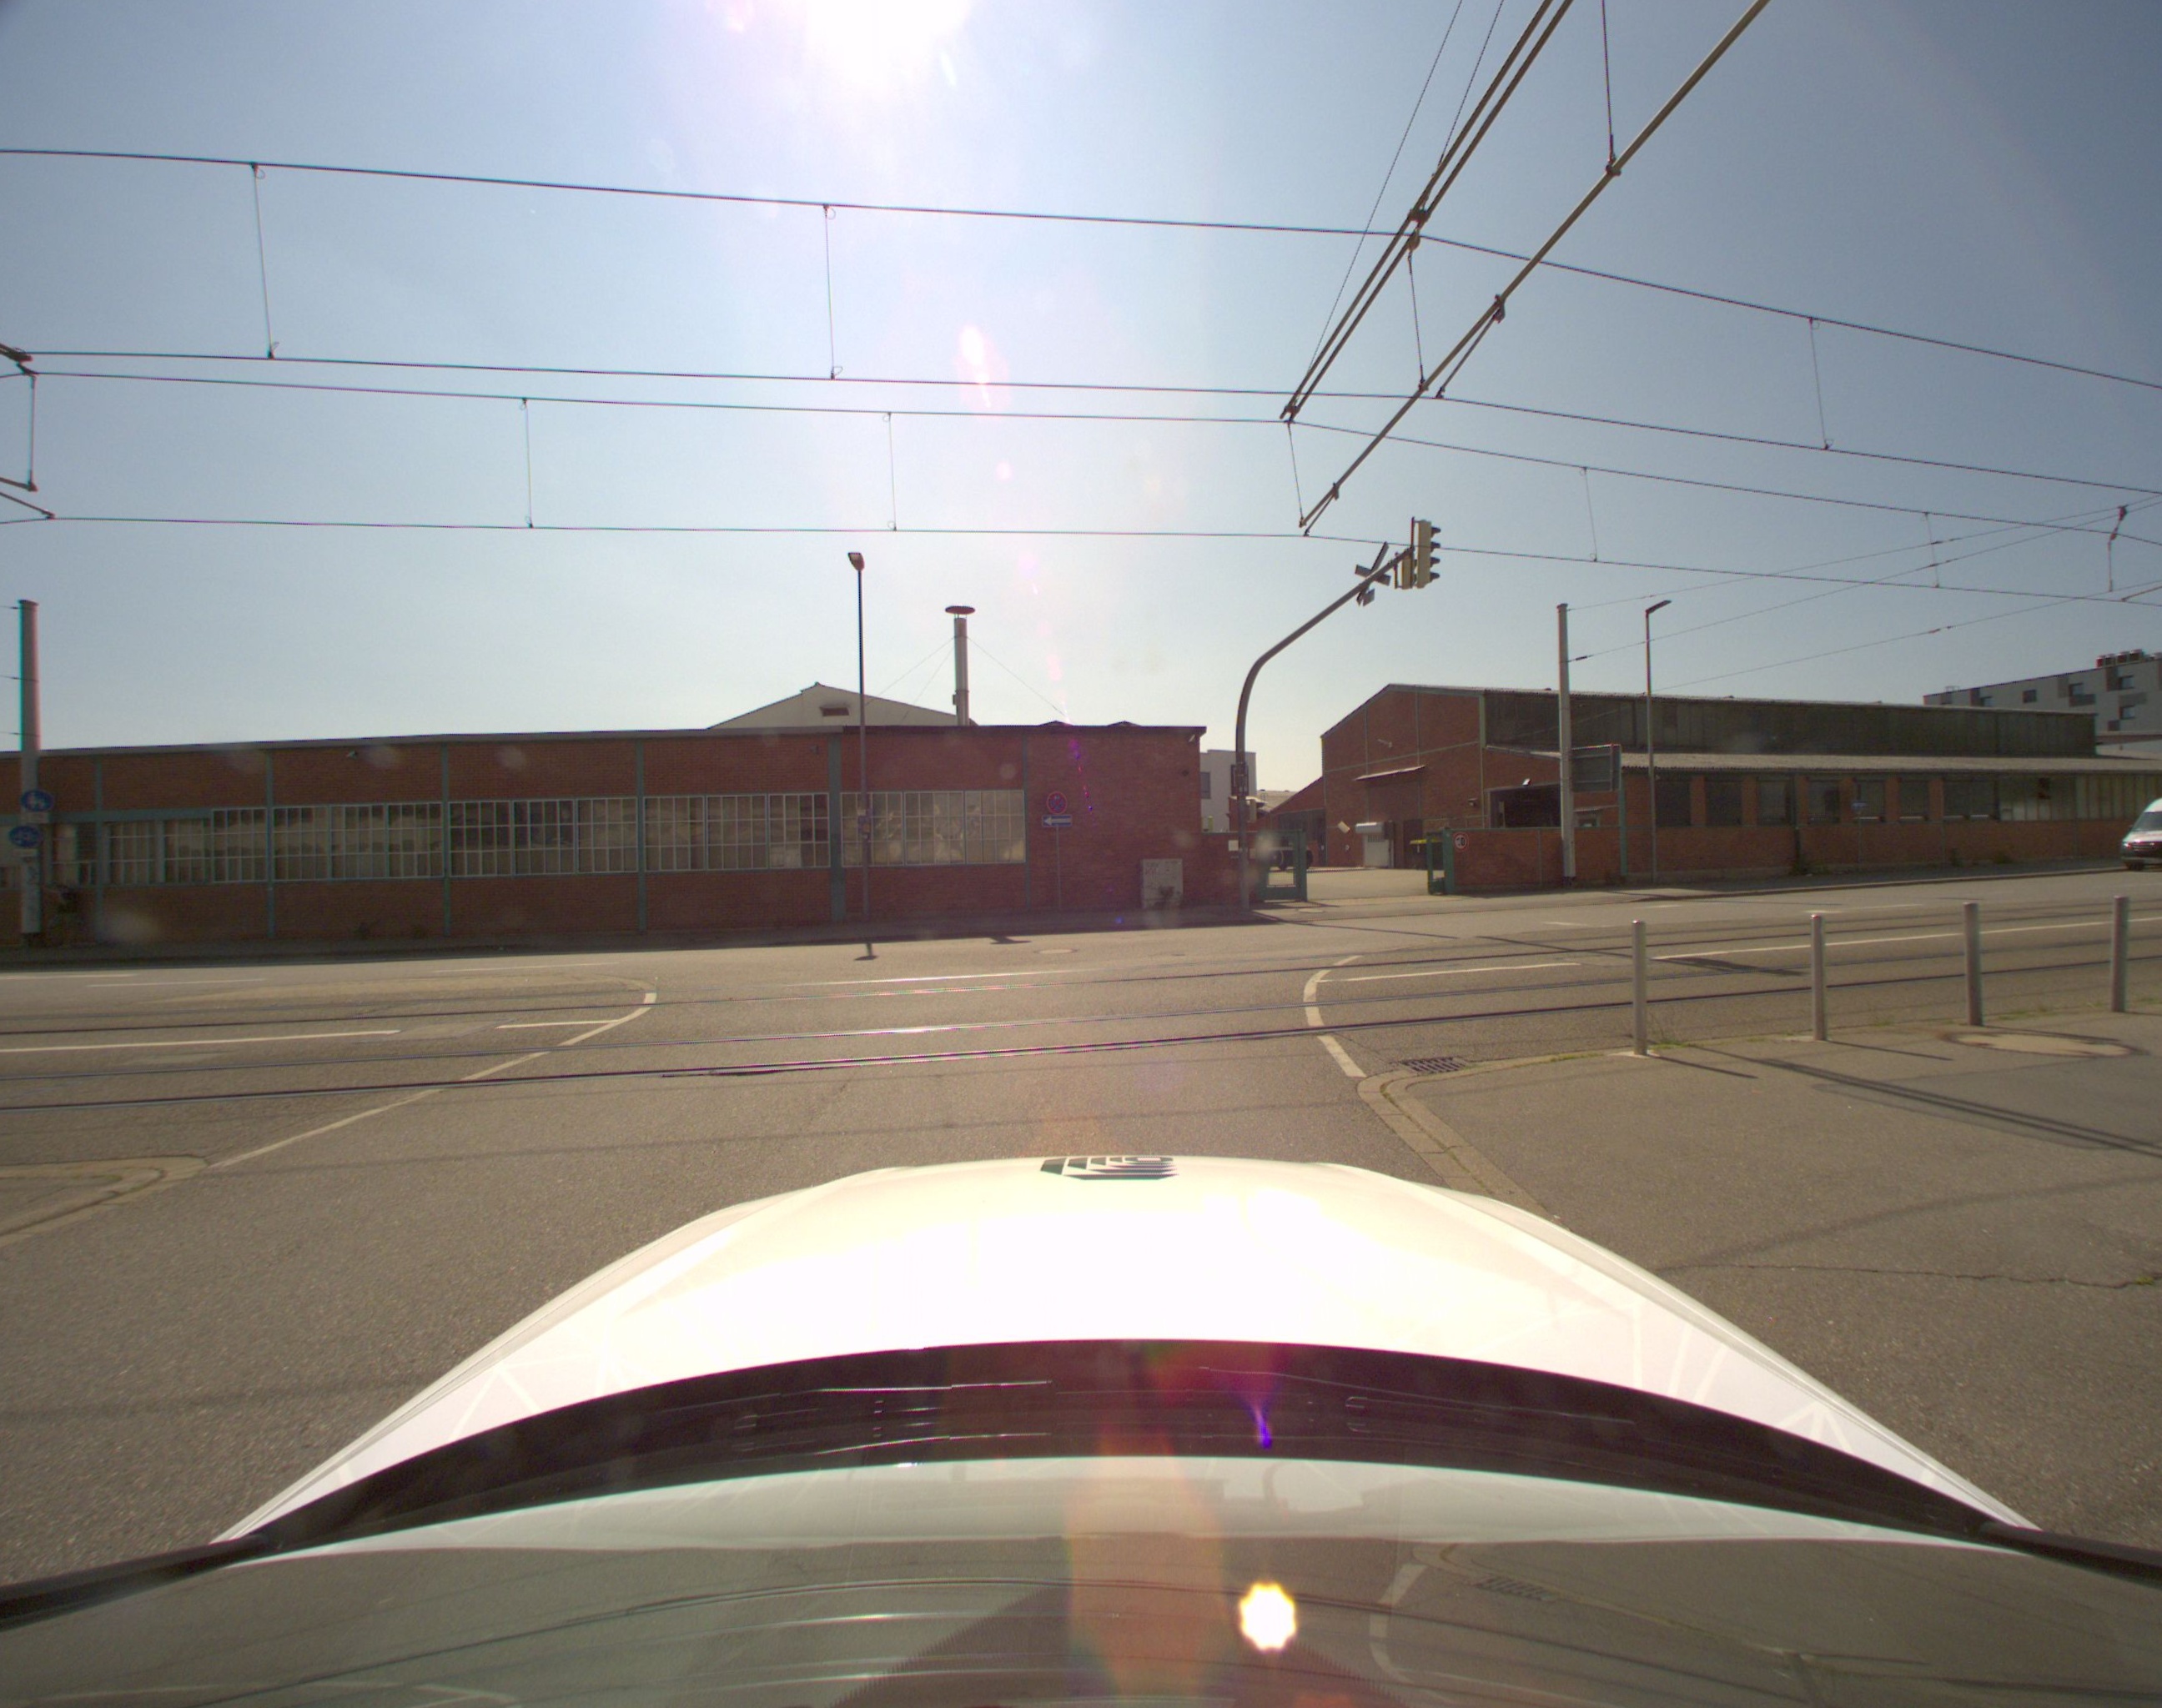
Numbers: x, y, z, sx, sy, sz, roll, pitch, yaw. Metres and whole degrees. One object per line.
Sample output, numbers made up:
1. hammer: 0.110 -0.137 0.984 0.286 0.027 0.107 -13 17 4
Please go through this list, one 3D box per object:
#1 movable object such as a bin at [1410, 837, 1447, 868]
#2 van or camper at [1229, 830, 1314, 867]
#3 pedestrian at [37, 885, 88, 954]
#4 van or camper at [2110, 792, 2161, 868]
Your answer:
1. movable object such as a bin: 15.245 -0.059 35.770 0.976 1.314 1.147 -3 0 -14
2. van or camper: 10.221 -0.249 43.598 4.438 1.900 1.979 1 -1 -33
3. pedestrian: -26.976 1.710 21.574 0.445 1.765 0.688 0 -1 12
4. van or camper: 39.055 -0.906 28.267 5.862 2.534 2.033 -2 0 -16
